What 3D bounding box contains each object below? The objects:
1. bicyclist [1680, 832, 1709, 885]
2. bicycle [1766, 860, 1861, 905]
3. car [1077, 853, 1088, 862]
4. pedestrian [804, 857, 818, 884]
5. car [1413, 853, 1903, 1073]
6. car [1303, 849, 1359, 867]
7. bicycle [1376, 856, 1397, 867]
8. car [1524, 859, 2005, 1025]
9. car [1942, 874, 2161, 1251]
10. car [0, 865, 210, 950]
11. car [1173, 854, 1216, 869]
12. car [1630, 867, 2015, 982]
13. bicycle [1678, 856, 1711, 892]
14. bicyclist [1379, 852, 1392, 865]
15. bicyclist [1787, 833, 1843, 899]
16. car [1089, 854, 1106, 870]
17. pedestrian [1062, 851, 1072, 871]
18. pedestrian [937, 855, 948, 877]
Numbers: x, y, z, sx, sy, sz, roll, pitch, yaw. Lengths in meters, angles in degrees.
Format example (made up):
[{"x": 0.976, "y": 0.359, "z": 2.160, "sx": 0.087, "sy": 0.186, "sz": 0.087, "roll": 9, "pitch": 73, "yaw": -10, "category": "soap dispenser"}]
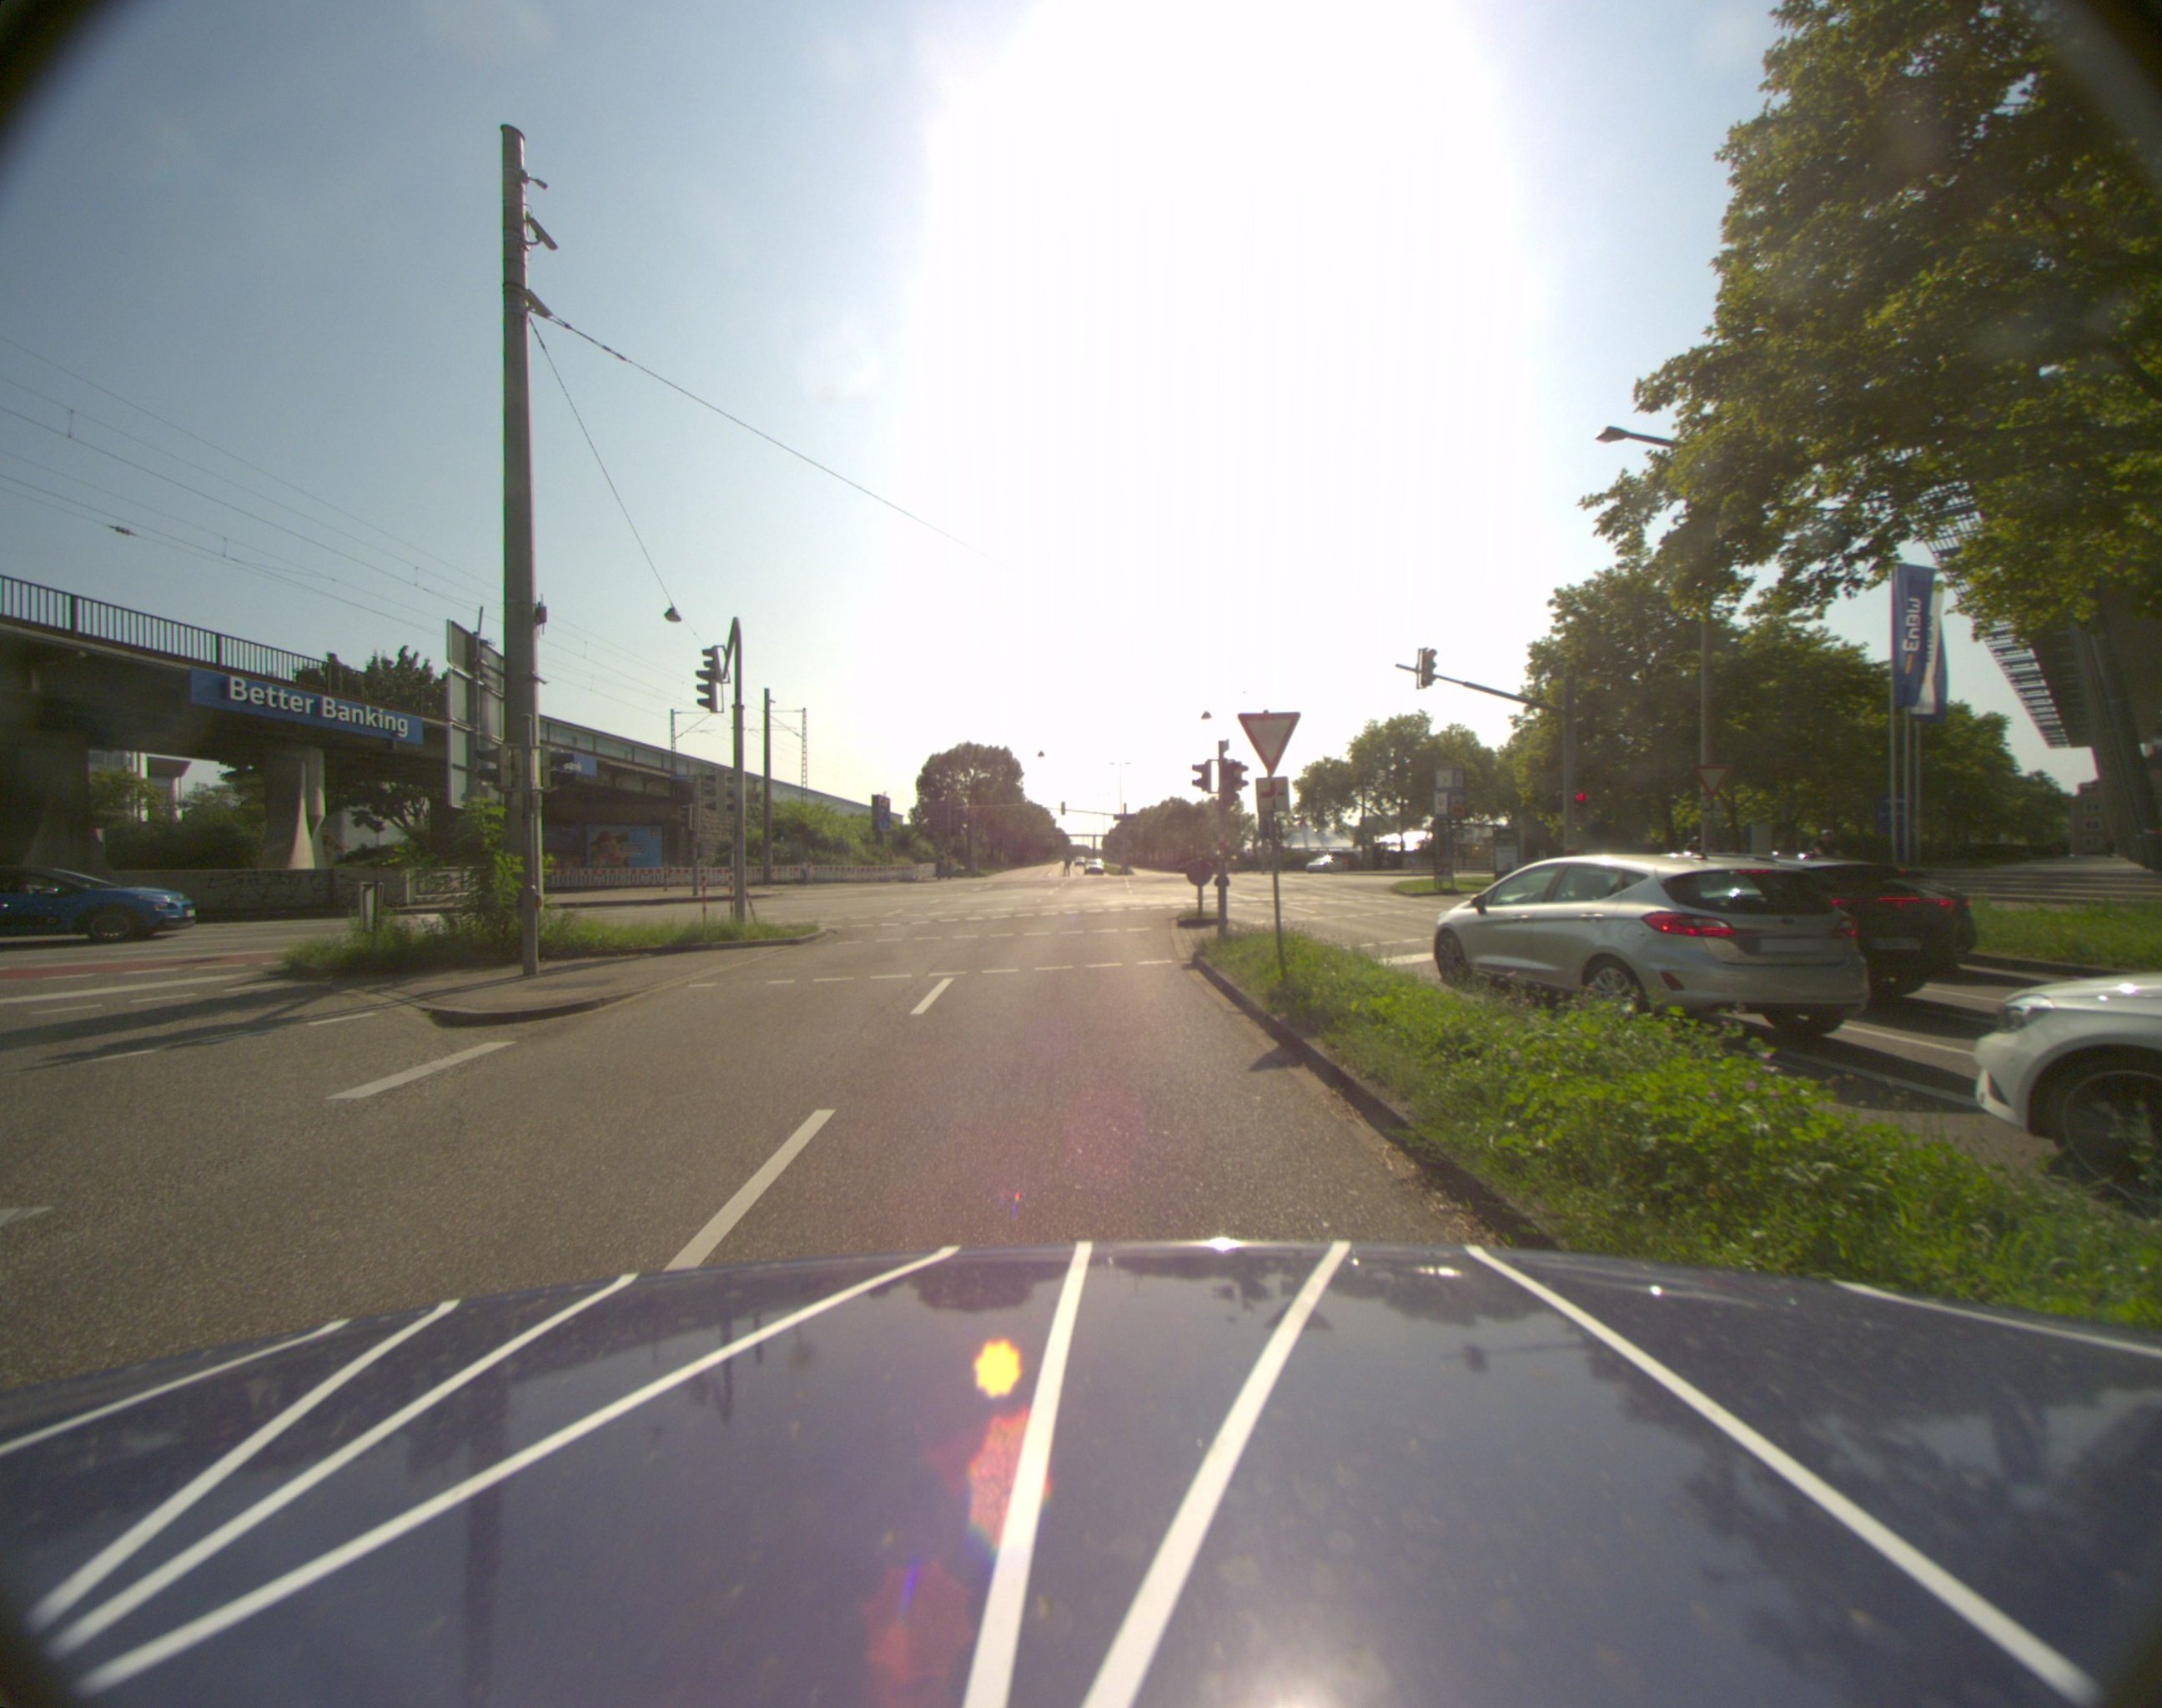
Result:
[{"x": 19.821, "y": 0.151, "z": 24.556, "sx": 0.632, "sy": 1.678, "sz": 0.811, "roll": 0, "pitch": 1, "yaw": 32, "category": "bicyclist"}, {"x": 19.085, "y": 0.730, "z": 19.861, "sx": 0.685, "sy": 1.084, "sz": 1.897, "roll": -1, "pitch": 1, "yaw": 2, "category": "bicycle"}, {"x": 0.266, "y": 0.610, "z": 134.190, "sx": 1.864, "sy": 1.584, "sz": 4.000, "roll": -1, "pitch": 0, "yaw": 1, "category": "car"}, {"x": -16.114, "y": 0.979, "z": 45.340, "sx": 0.636, "sy": 1.565, "sz": 0.489, "roll": -2, "pitch": 2, "yaw": -38, "category": "pedestrian"}, {"x": 4.890, "y": 0.758, "z": 7.287, "sx": 1.647, "sy": 1.487, "sz": 3.999, "roll": -1, "pitch": 0, "yaw": 0, "category": "car"}, {"x": 22.295, "y": 0.336, "z": 67.557, "sx": 5.440, "sy": 1.438, "sz": 1.855, "roll": -2, "pitch": 1, "yaw": -36, "category": "car"}, {"x": 25.257, "y": 0.635, "z": 62.894, "sx": 0.531, "sy": 0.860, "sz": 1.734, "roll": -1, "pitch": 1, "yaw": -22, "category": "bicycle"}, {"x": 7.585, "y": 0.829, "z": 9.168, "sx": 1.859, "sy": 1.495, "sz": 4.263, "roll": 0, "pitch": 0, "yaw": -2, "category": "car"}, {"x": 4.937, "y": 0.799, "z": 1.530, "sx": 1.714, "sy": 1.394, "sz": 4.083, "roll": 1, "pitch": 0, "yaw": -1, "category": "car"}, {"x": -19.622, "y": 0.995, "z": 14.257, "sx": 4.007, "sy": 1.444, "sz": 1.613, "roll": -2, "pitch": 1, "yaw": -37, "category": "car"}, {"x": 12.051, "y": 0.766, "z": 80.836, "sx": 3.988, "sy": 1.543, "sz": 2.004, "roll": -1, "pitch": 0, "yaw": 41, "category": "car"}, {"x": 10.815, "y": 0.928, "z": 11.609, "sx": 1.714, "sy": 1.345, "sz": 4.158, "roll": 1, "pitch": 0, "yaw": -2, "category": "car"}, {"x": 19.821, "y": 0.629, "z": 24.568, "sx": 0.643, "sy": 1.088, "sz": 1.653, "roll": 0, "pitch": 1, "yaw": 32, "category": "bicycle"}, {"x": 25.246, "y": 0.368, "z": 62.912, "sx": 0.521, "sy": 1.134, "sz": 0.907, "roll": -1, "pitch": 1, "yaw": -22, "category": "bicyclist"}, {"x": 19.079, "y": 0.310, "z": 19.767, "sx": 0.668, "sy": 1.678, "sz": 0.809, "roll": 0, "pitch": 1, "yaw": 2, "category": "bicyclist"}, {"x": 1.587, "y": 0.759, "z": 72.166, "sx": 1.545, "sy": 1.433, "sz": 3.395, "roll": -1, "pitch": 0, "yaw": 2, "category": "car"}, {"x": -1.183, "y": 0.593, "z": 63.618, "sx": 0.645, "sy": 1.715, "sz": 0.588, "roll": 0, "pitch": 1, "yaw": 20, "category": "pedestrian"}, {"x": -10.078, "y": 0.870, "z": 55.415, "sx": 0.650, "sy": 1.565, "sz": 0.759, "roll": 1, "pitch": 1, "yaw": -2, "category": "pedestrian"}]
